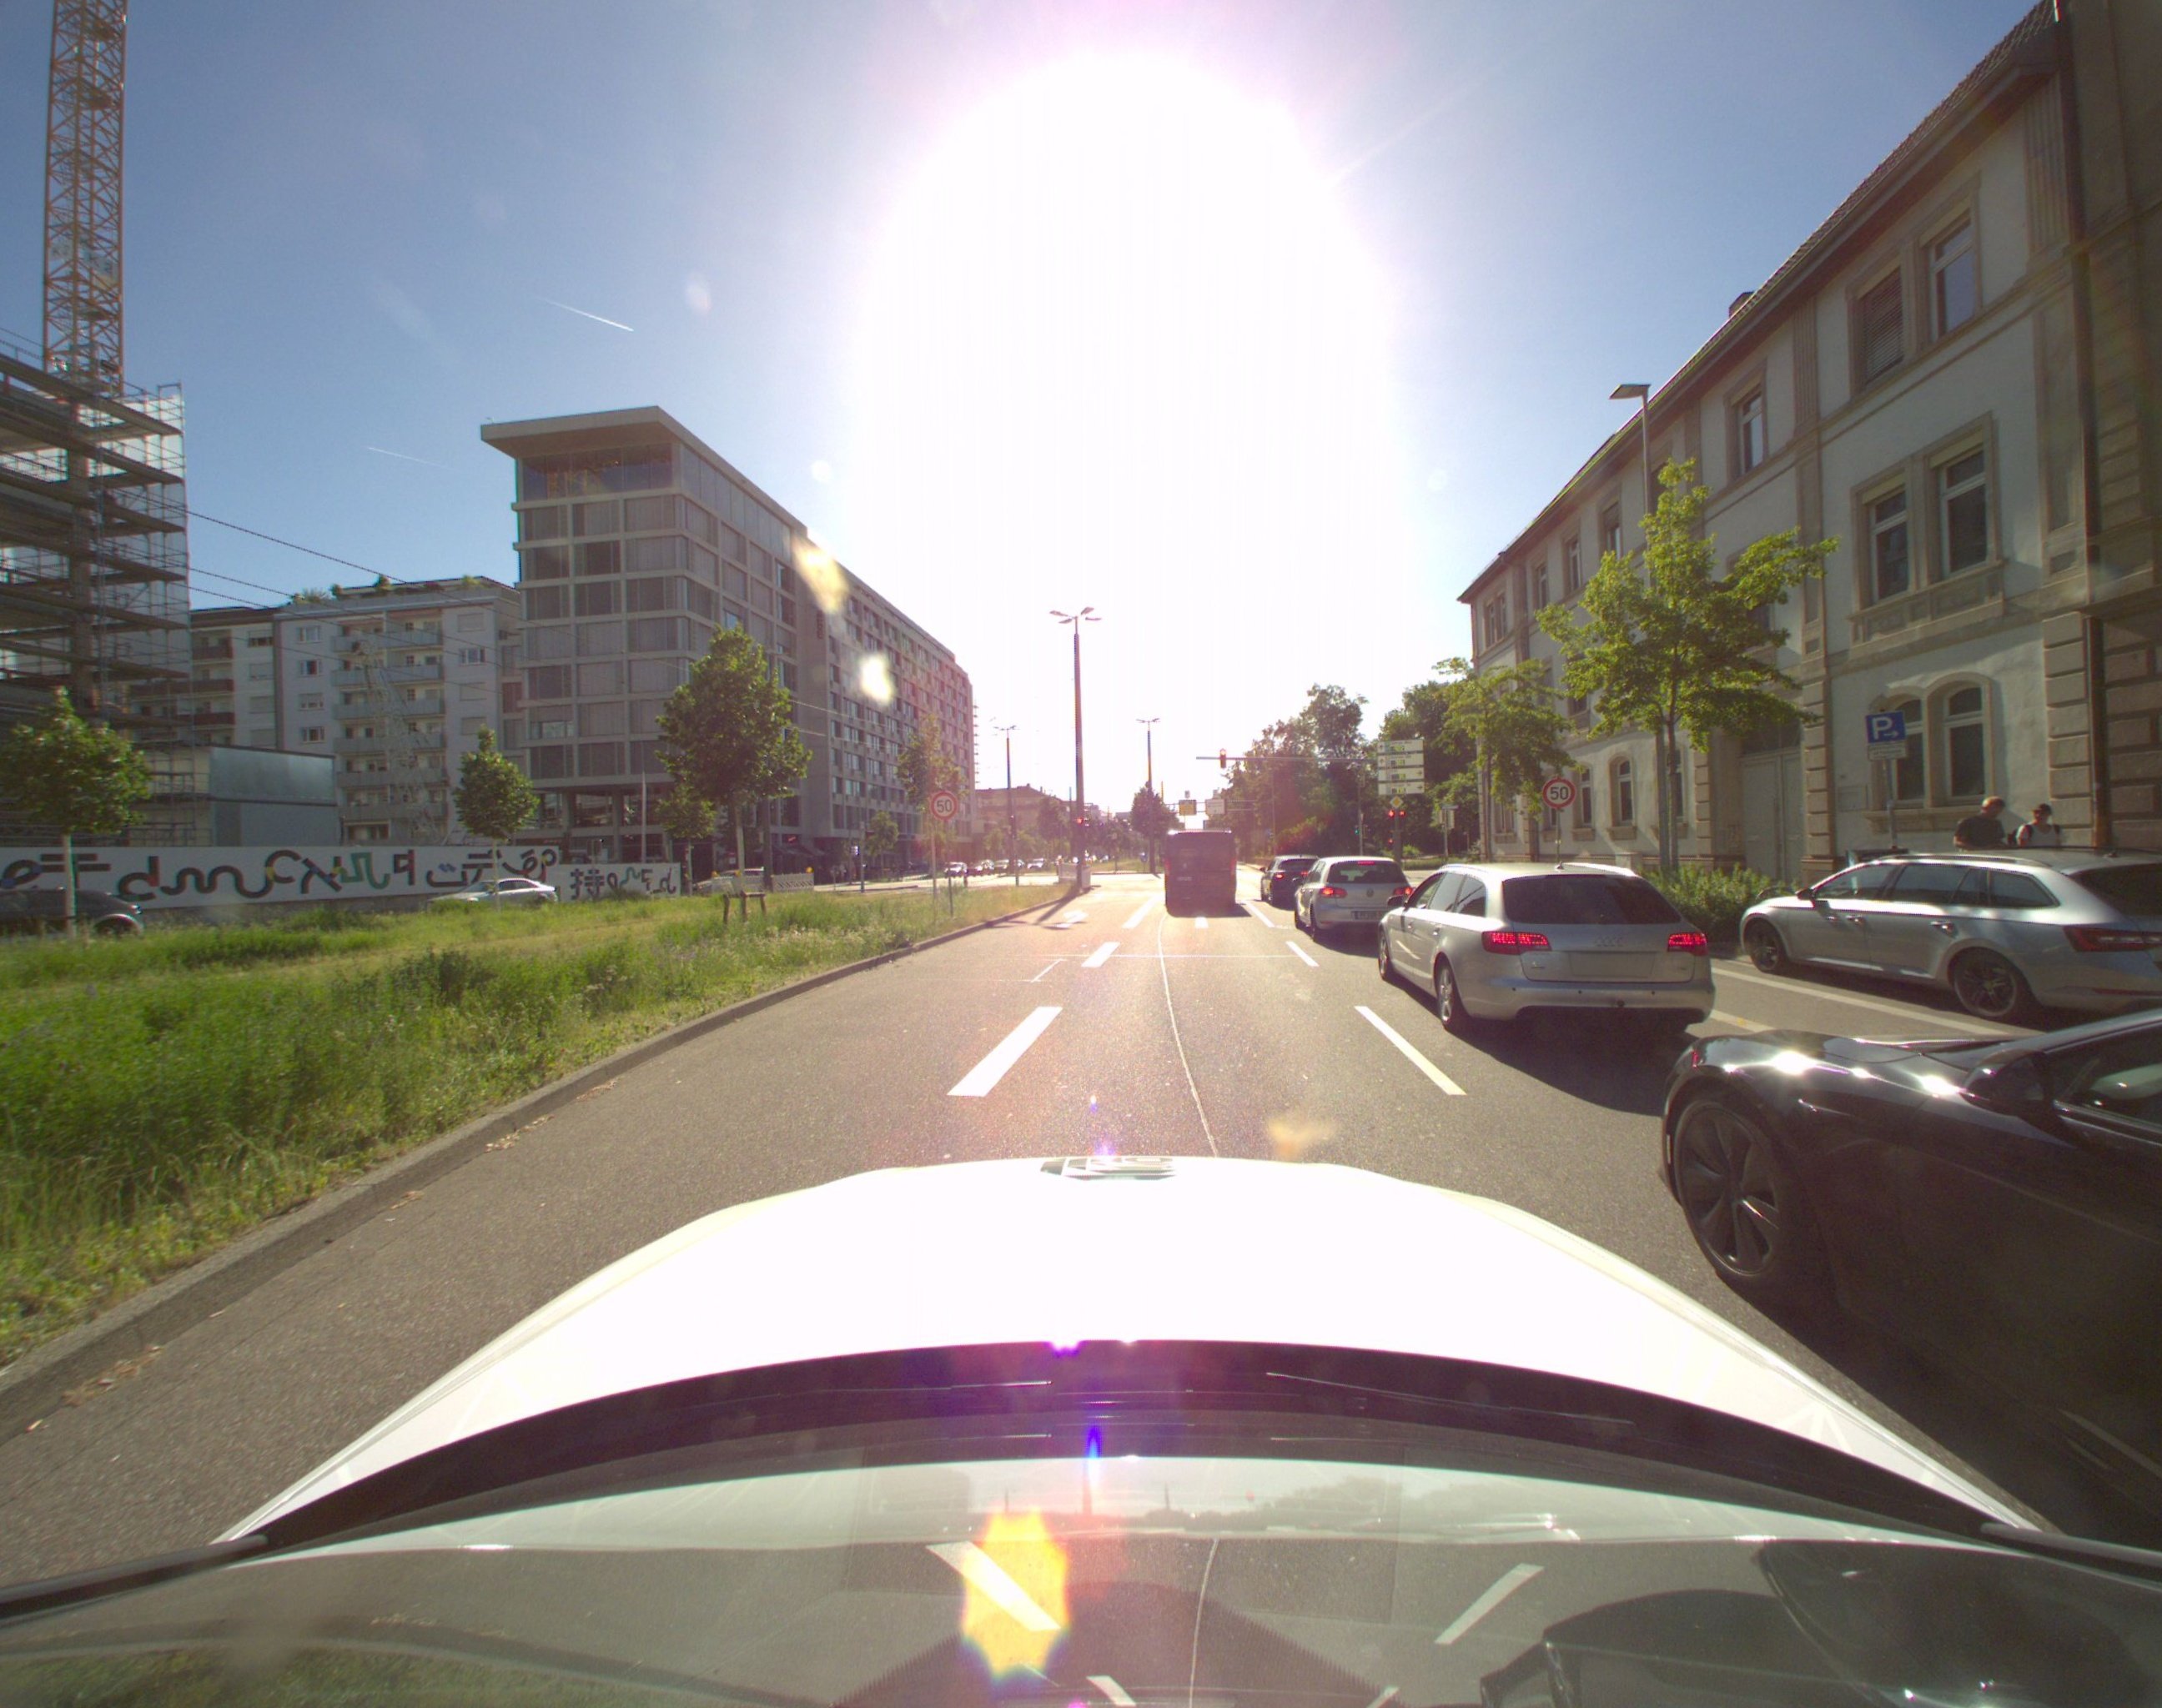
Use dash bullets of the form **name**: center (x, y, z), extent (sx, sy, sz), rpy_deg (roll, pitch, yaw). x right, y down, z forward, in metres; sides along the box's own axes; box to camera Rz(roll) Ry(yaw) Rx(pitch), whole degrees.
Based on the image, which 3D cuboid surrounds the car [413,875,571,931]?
- **car**: center (-22.162, 1.793, 30.894), extent (1.978, 1.792, 4.546), rpy_deg (-2, 0, 16)

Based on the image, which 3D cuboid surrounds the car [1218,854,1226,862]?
- **car**: center (33.425, 0.999, 193.327), extent (1.782, 1.873, 3.857), rpy_deg (0, 0, 7)

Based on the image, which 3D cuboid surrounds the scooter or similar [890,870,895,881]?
- **scooter or similar**: center (-17.325, 1.961, 74.809), extent (0.284, 0.947, 0.767), rpy_deg (-2, 0, 1)

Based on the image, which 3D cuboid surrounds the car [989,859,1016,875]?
- **car**: center (-8.360, 1.386, 87.043), extent (1.780, 1.651, 4.010), rpy_deg (-2, 0, 9)

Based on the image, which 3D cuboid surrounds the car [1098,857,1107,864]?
- **car**: center (5.875, 1.789, 219.742), extent (1.780, 1.651, 4.010), rpy_deg (-2, 0, 9)

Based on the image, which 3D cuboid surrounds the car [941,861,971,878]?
- **car**: center (-12.479, 1.538, 81.778), extent (1.780, 1.651, 4.010), rpy_deg (-2, 0, 9)

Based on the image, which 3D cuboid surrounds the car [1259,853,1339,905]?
- **car**: center (6.376, 0.702, 24.210), extent (1.782, 1.428, 3.857), rpy_deg (0, 0, 7)

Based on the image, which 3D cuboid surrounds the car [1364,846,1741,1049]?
- **car**: center (4.188, 0.652, 8.241), extent (1.737, 1.427, 4.852), rpy_deg (-1, 0, 10)

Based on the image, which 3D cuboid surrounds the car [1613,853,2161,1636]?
- **car**: center (2.991, 0.736, 1.151), extent (2.040, 1.444, 4.535), rpy_deg (0, 0, 8)

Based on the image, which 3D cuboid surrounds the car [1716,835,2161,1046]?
- **car**: center (8.923, 0.626, 8.326), extent (1.638, 1.475, 4.711), rpy_deg (-4, 0, 8)

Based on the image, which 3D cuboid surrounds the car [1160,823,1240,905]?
- **car**: center (3.597, 0.268, 24.867), extent (2.206, 2.267, 4.493), rpy_deg (0, 1, 7)

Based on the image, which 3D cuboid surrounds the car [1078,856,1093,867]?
- **car**: center (0.732, 1.208, 132.887), extent (1.780, 1.651, 4.010), rpy_deg (-2, 0, 9)

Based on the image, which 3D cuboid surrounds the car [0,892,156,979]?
- **car**: center (-24.824, 1.890, 18.535), extent (1.980, 1.792, 4.543), rpy_deg (-2, 0, 13)

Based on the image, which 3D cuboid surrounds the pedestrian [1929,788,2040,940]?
- **pedestrian**: center (11.947, 0.128, 10.788), extent (0.654, 1.913, 0.589), rpy_deg (-5, -1, 8)

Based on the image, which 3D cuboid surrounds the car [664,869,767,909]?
- **car**: center (-18.676, 1.742, 41.818), extent (1.975, 1.792, 4.554), rpy_deg (-2, 0, 28)

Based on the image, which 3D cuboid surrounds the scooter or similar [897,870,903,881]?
- **scooter or similar**: center (-16.476, 1.933, 74.229), extent (0.227, 0.947, 0.769), rpy_deg (-2, 0, 9)

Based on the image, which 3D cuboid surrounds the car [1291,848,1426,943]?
- **car**: center (5.021, 0.670, 15.260), extent (1.739, 1.527, 4.015), rpy_deg (-1, 0, 9)

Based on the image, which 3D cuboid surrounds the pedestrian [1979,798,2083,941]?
- **pedestrian**: center (12.688, 0.202, 10.895), extent (0.559, 1.821, 0.589), rpy_deg (-5, -1, 8)

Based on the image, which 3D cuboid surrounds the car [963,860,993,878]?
- **car**: center (-9.997, 1.412, 79.168), extent (1.780, 1.651, 4.010), rpy_deg (-2, 0, 9)

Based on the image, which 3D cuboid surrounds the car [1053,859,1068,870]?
- **car**: center (-3.462, 1.819, 140.507), extent (1.780, 1.651, 4.010), rpy_deg (-2, 0, 9)

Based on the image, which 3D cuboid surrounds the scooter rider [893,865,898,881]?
- **scooter rider**: center (-17.014, 1.698, 74.702), extent (0.340, 1.453, 0.240), rpy_deg (-2, 0, 8)

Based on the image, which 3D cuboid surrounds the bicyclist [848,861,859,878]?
- **bicyclist**: center (-20.419, 1.399, 73.241), extent (0.589, 1.580, 0.895), rpy_deg (0, -1, 12)

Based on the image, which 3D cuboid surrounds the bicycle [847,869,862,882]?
- **bicycle**: center (-20.358, 1.915, 73.186), extent (0.583, 1.100, 1.628), rpy_deg (0, -1, 12)

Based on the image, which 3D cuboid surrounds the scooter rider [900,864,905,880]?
- **scooter rider**: center (-16.281, 1.659, 74.340), extent (0.340, 1.453, 0.240), rpy_deg (-2, 0, 8)

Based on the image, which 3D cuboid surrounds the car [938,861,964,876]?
- **car**: center (-15.368, 1.661, 96.201), extent (1.780, 1.651, 4.010), rpy_deg (-2, 0, 9)
